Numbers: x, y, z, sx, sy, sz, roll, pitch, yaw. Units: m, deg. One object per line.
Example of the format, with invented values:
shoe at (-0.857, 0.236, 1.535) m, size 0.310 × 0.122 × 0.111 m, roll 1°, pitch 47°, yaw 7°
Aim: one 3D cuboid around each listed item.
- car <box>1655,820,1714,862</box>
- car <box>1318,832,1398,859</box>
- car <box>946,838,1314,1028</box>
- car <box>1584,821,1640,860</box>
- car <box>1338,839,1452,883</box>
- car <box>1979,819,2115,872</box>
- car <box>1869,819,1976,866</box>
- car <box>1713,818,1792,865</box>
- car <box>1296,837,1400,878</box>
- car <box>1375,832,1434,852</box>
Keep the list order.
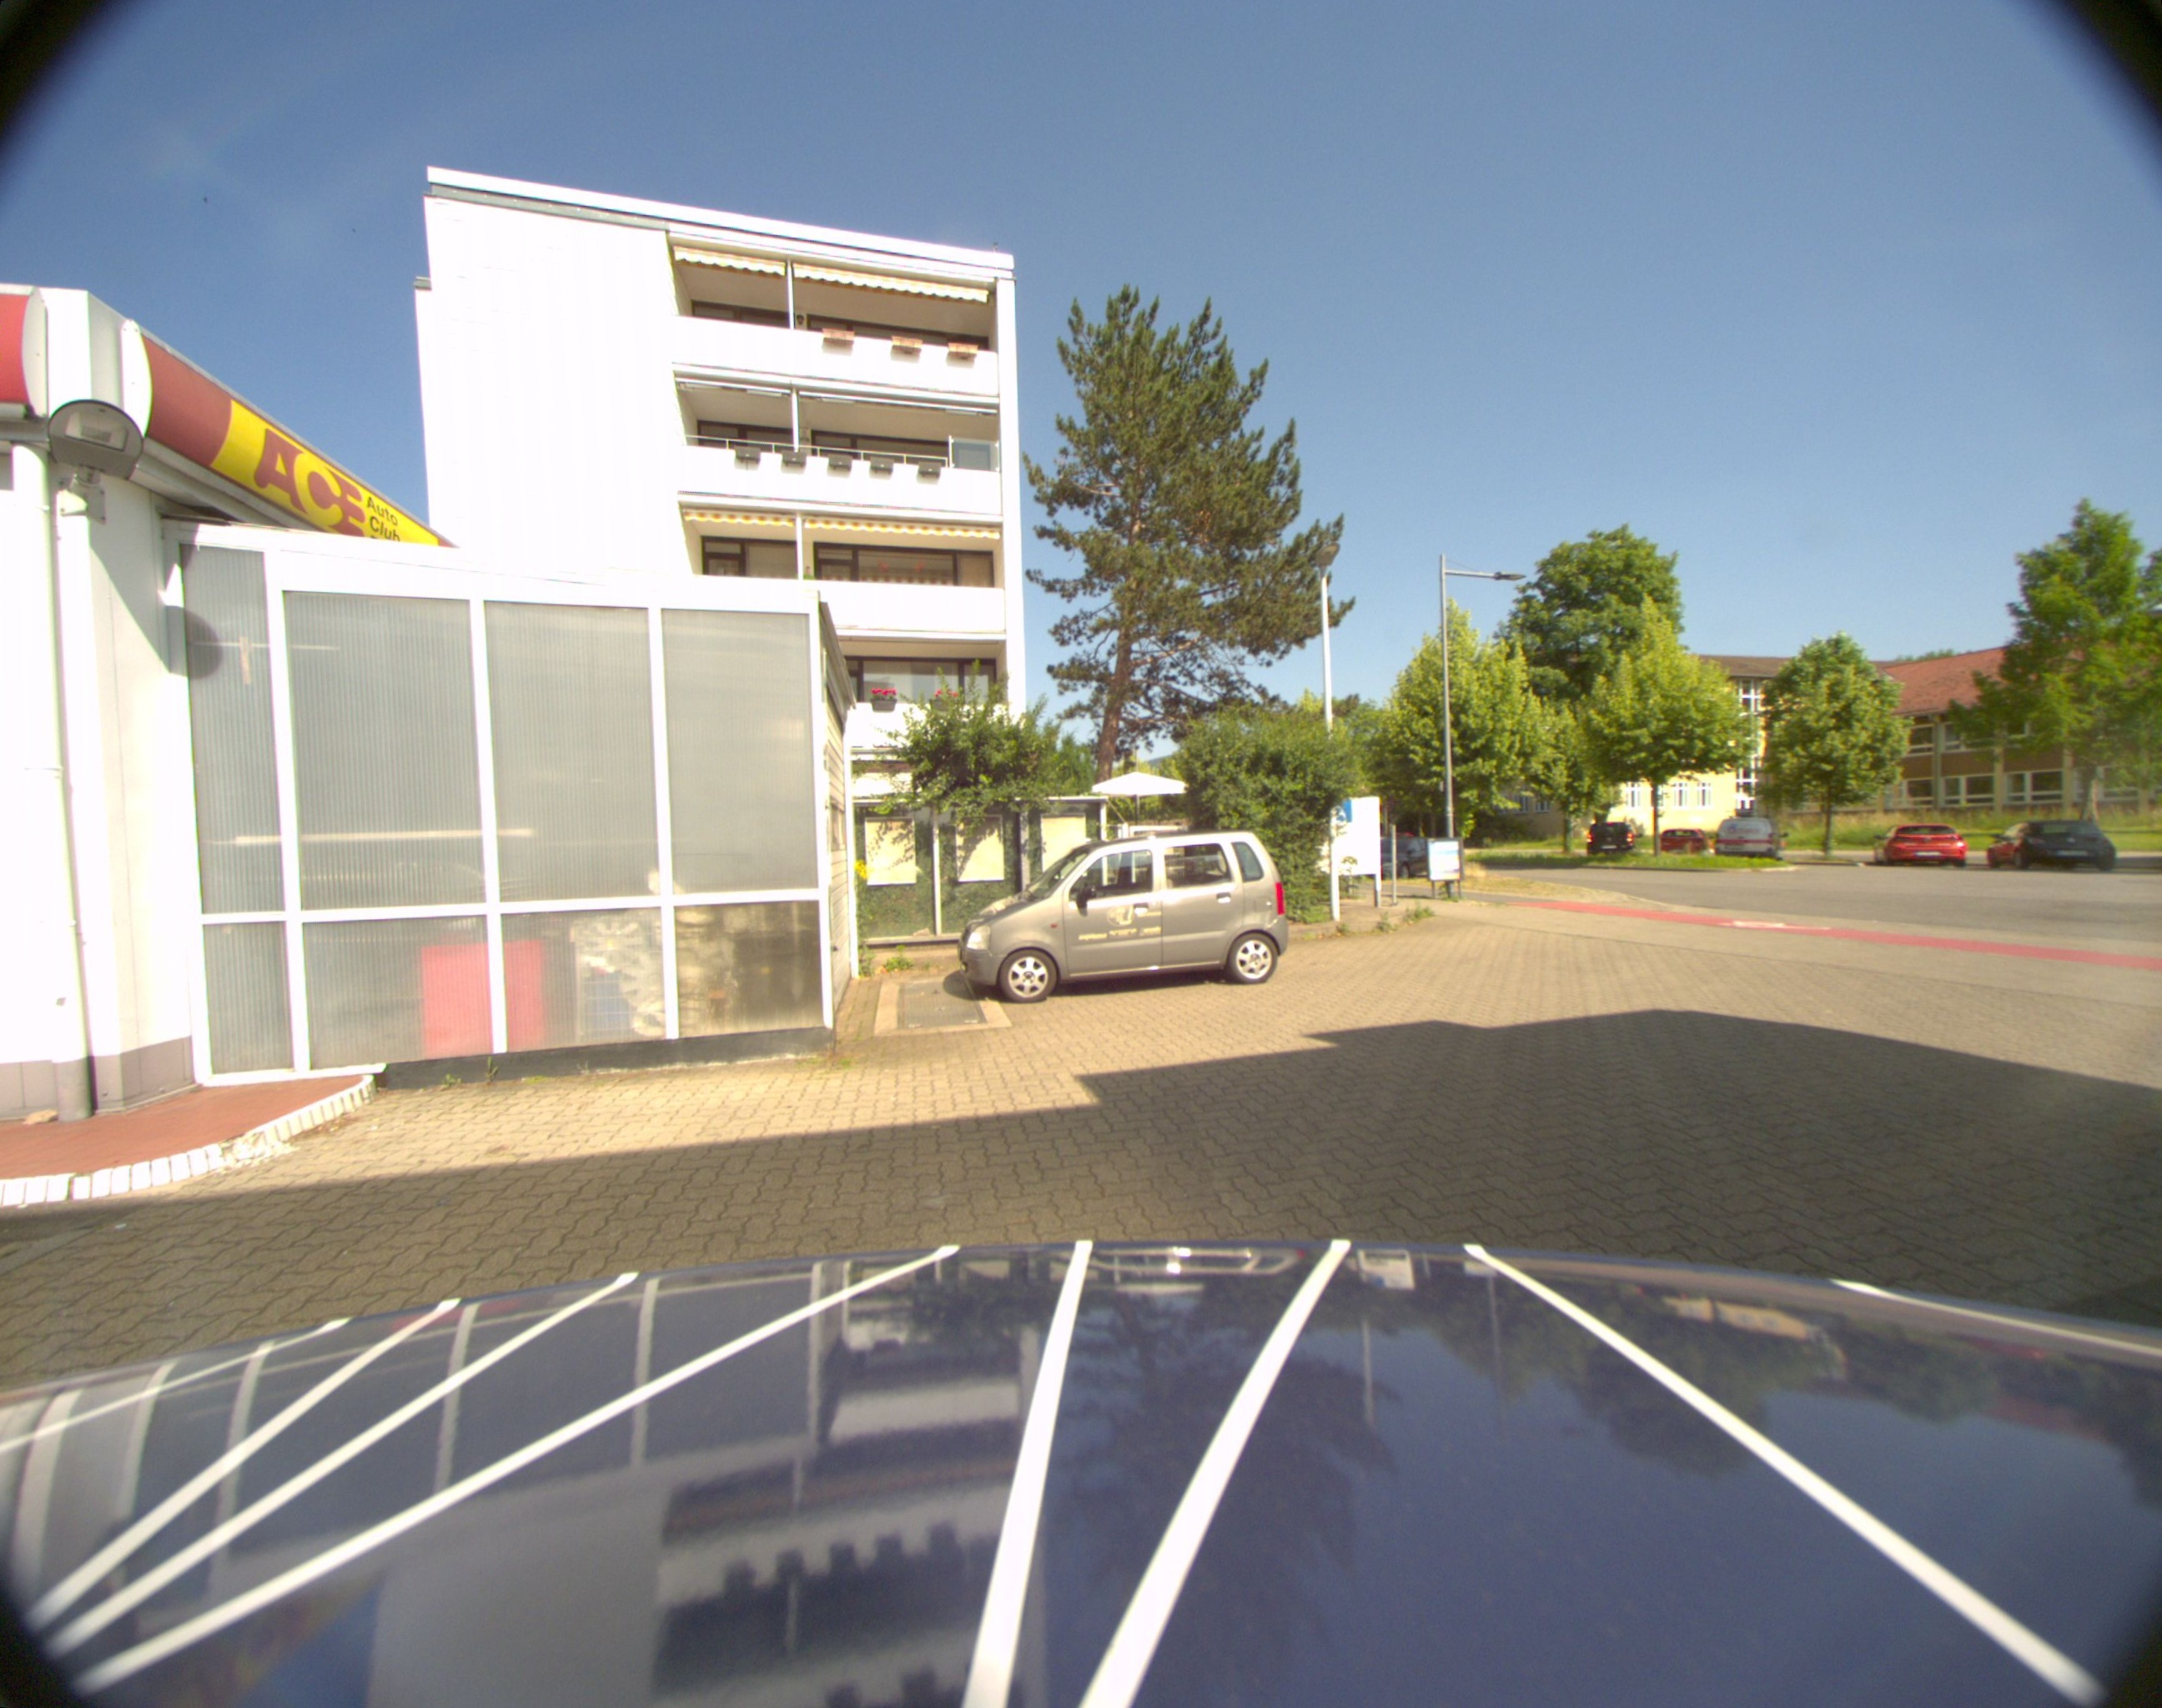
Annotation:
car at (26.218, -0.572, 33.056) m, size 1.876 × 1.713 × 4.234 m, roll 1°, pitch 2°, yaw 38°
car at (17.460, -0.540, 48.257) m, size 2.001 × 1.602 × 5.651 m, roll 0°, pitch 1°, yaw -14°
car at (0.431, 0.728, 8.359) m, size 3.663 × 1.608 × 1.690 m, roll -3°, pitch 2°, yaw -11°
car at (24.819, -0.629, 35.463) m, size 1.876 × 1.713 × 4.234 m, roll 1°, pitch 2°, yaw 38°
car at (10.899, 0.188, 26.238) m, size 4.234 × 1.409 × 1.876 m, roll -1°, pitch 1°, yaw -40°
car at (28.744, -0.263, 22.768) m, size 1.736 × 1.451 × 4.234 m, roll 0°, pitch 1°, yaw 41°
car at (28.071, -0.393, 25.493) m, size 1.876 × 1.451 × 4.234 m, roll 1°, pitch 2°, yaw 41°
car at (26.899, -0.513, 30.391) m, size 4.234 × 1.713 × 1.876 m, roll -1°, pitch 2°, yaw -42°
car at (10.312, 0.082, 29.233) m, size 4.234 × 1.473 × 1.876 m, roll -1°, pitch 1°, yaw -40°
car at (22.107, -0.826, 51.957) m, size 3.733 × 1.383 × 1.876 m, roll -1°, pitch 2°, yaw -32°
